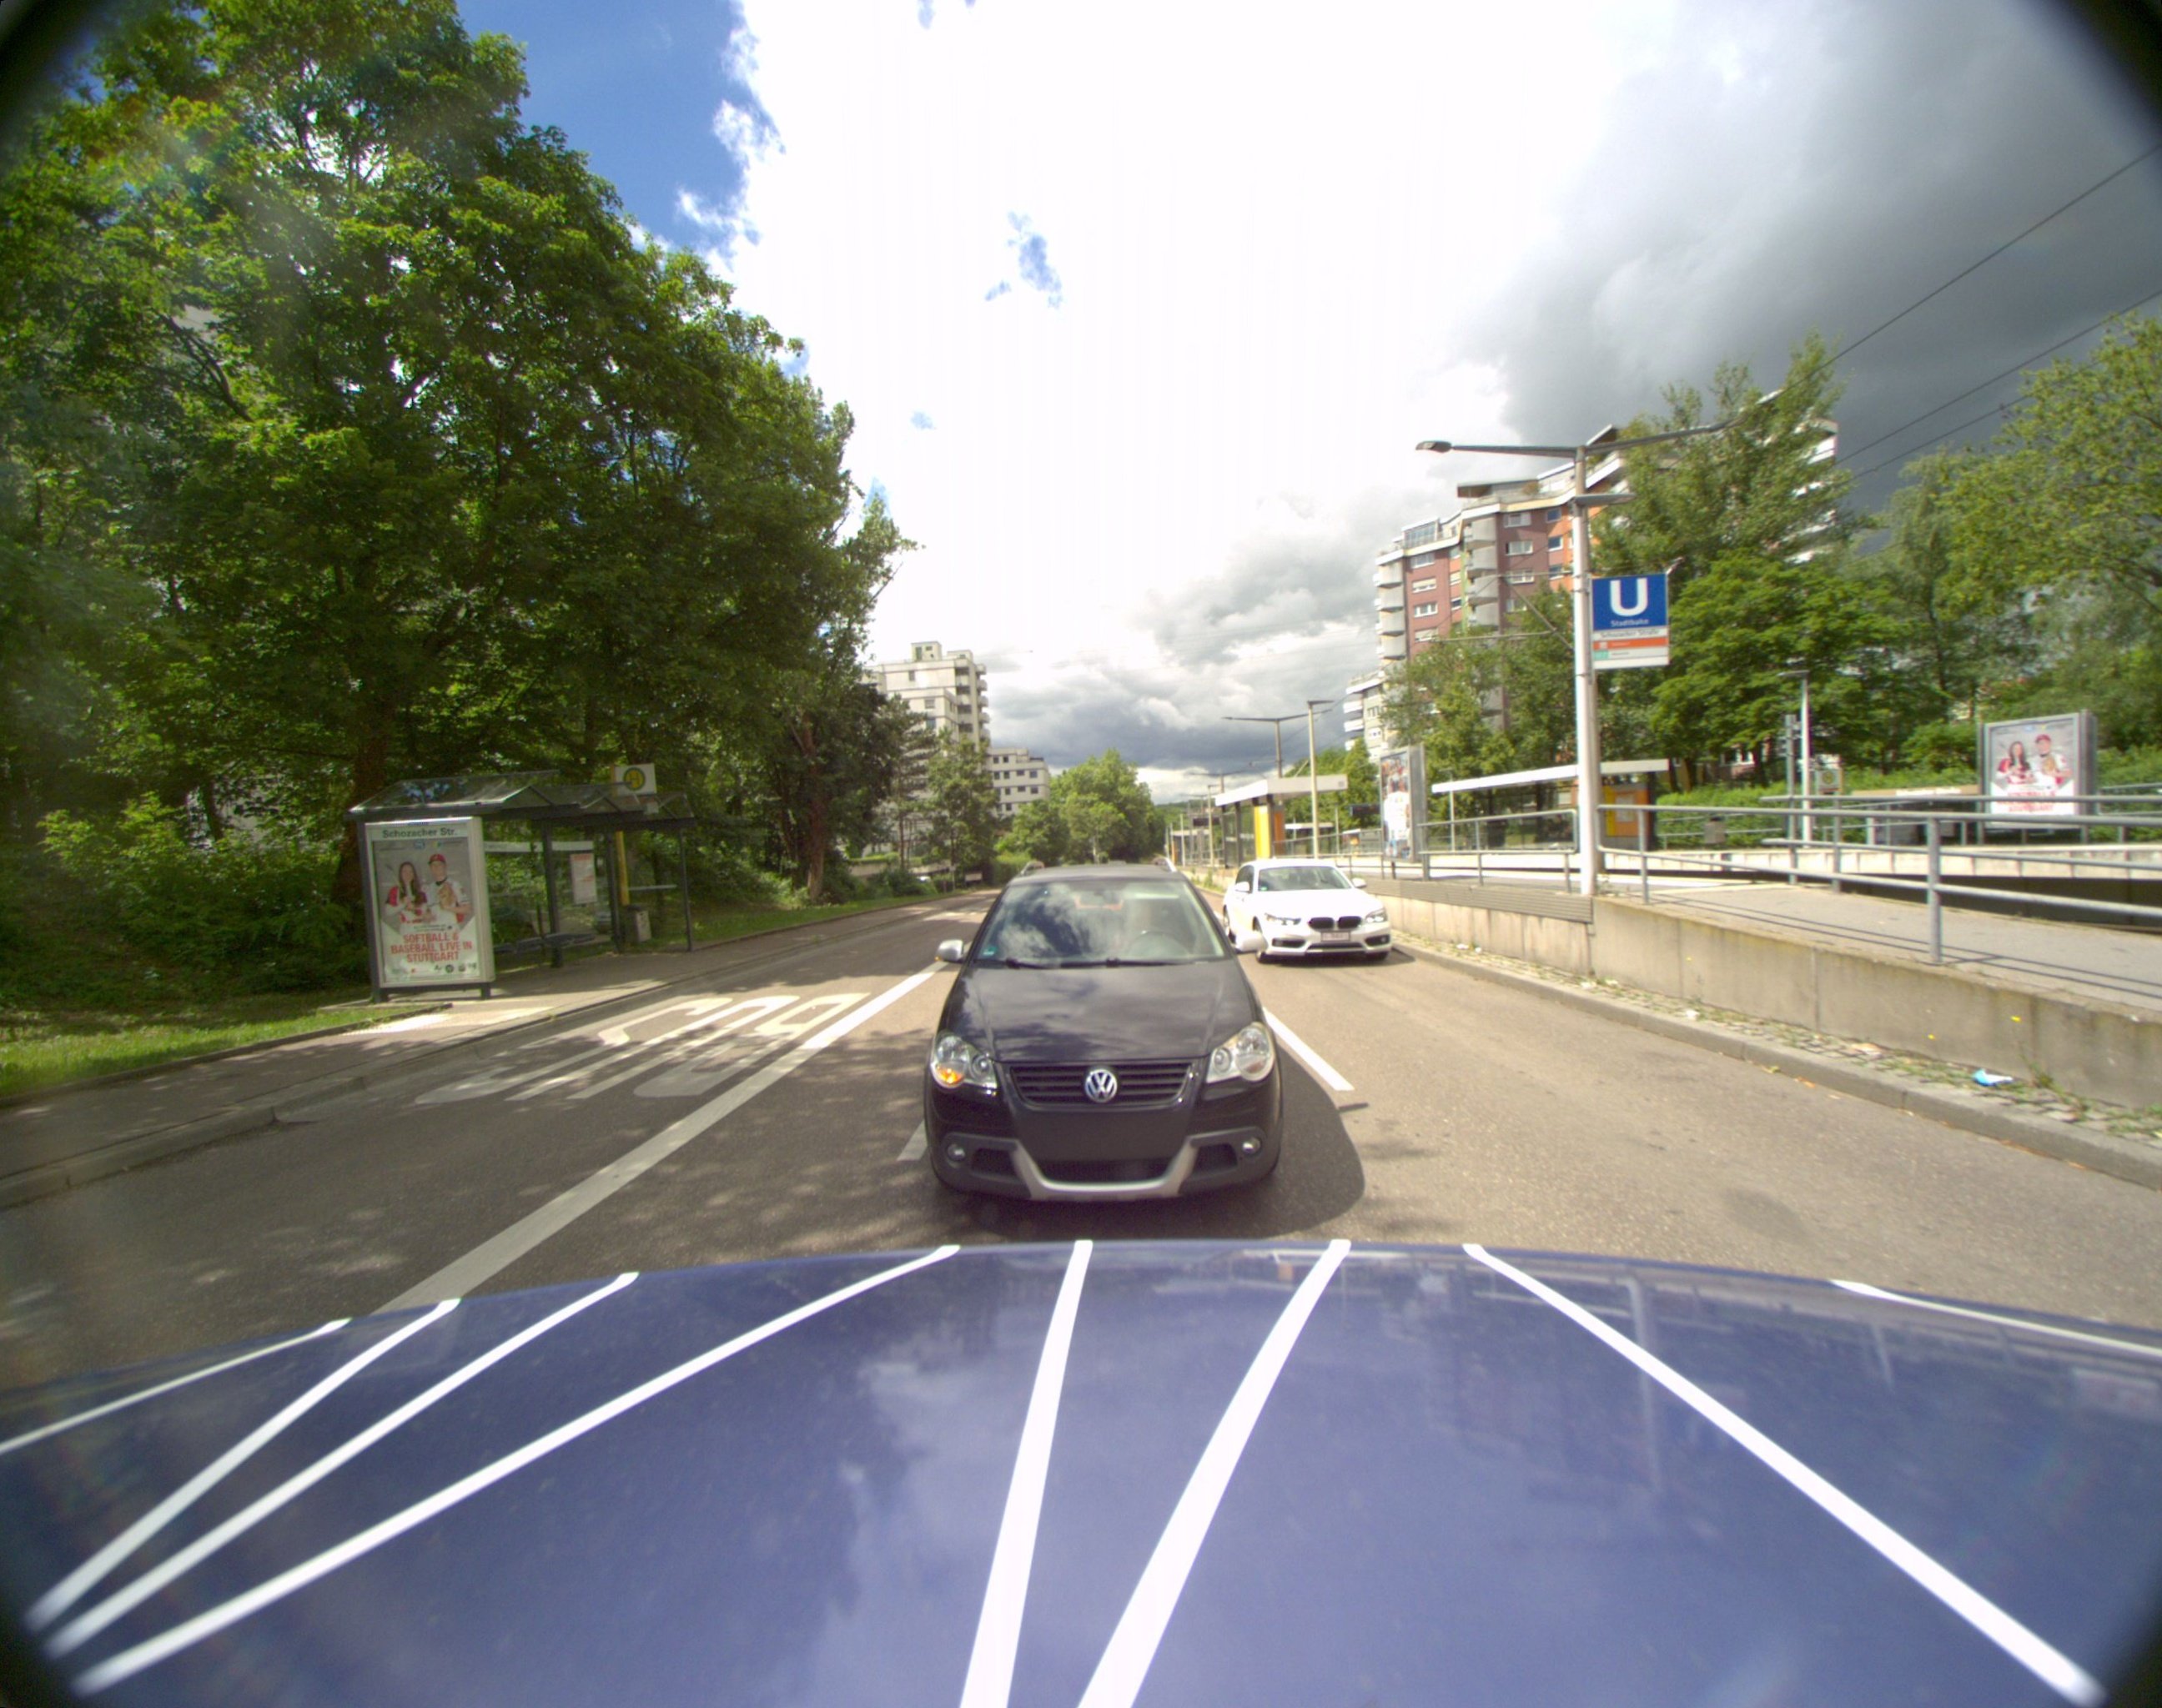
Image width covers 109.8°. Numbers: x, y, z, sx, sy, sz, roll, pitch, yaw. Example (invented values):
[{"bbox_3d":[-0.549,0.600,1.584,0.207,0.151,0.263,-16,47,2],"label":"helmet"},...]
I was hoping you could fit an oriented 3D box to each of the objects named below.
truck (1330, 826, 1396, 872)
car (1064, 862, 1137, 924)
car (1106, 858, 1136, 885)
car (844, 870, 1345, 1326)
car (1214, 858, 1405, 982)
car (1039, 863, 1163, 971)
[{"bbox_3d":[21.409,-0.357,58.155,2.420,3.203,7.263,-2,0,1],"label":"truck"},{"bbox_3d":[0.597,0.980,20.708,1.732,1.452,4.001,-2,0,3],"label":"car"},{"bbox_3d":[2.506,1.081,48.690,1.732,1.505,4.000,-2,1,1],"label":"car"},{"bbox_3d":[0.085,0.920,4.717,1.732,1.501,4.000,-2,0,1],"label":"car"},{"bbox_3d":[3.240,0.851,11.622,1.732,1.453,4.000,-2,1,1],"label":"car"},{"bbox_3d":[0.328,0.931,12.935,1.732,1.453,4.000,-2,0,1],"label":"car"}]
